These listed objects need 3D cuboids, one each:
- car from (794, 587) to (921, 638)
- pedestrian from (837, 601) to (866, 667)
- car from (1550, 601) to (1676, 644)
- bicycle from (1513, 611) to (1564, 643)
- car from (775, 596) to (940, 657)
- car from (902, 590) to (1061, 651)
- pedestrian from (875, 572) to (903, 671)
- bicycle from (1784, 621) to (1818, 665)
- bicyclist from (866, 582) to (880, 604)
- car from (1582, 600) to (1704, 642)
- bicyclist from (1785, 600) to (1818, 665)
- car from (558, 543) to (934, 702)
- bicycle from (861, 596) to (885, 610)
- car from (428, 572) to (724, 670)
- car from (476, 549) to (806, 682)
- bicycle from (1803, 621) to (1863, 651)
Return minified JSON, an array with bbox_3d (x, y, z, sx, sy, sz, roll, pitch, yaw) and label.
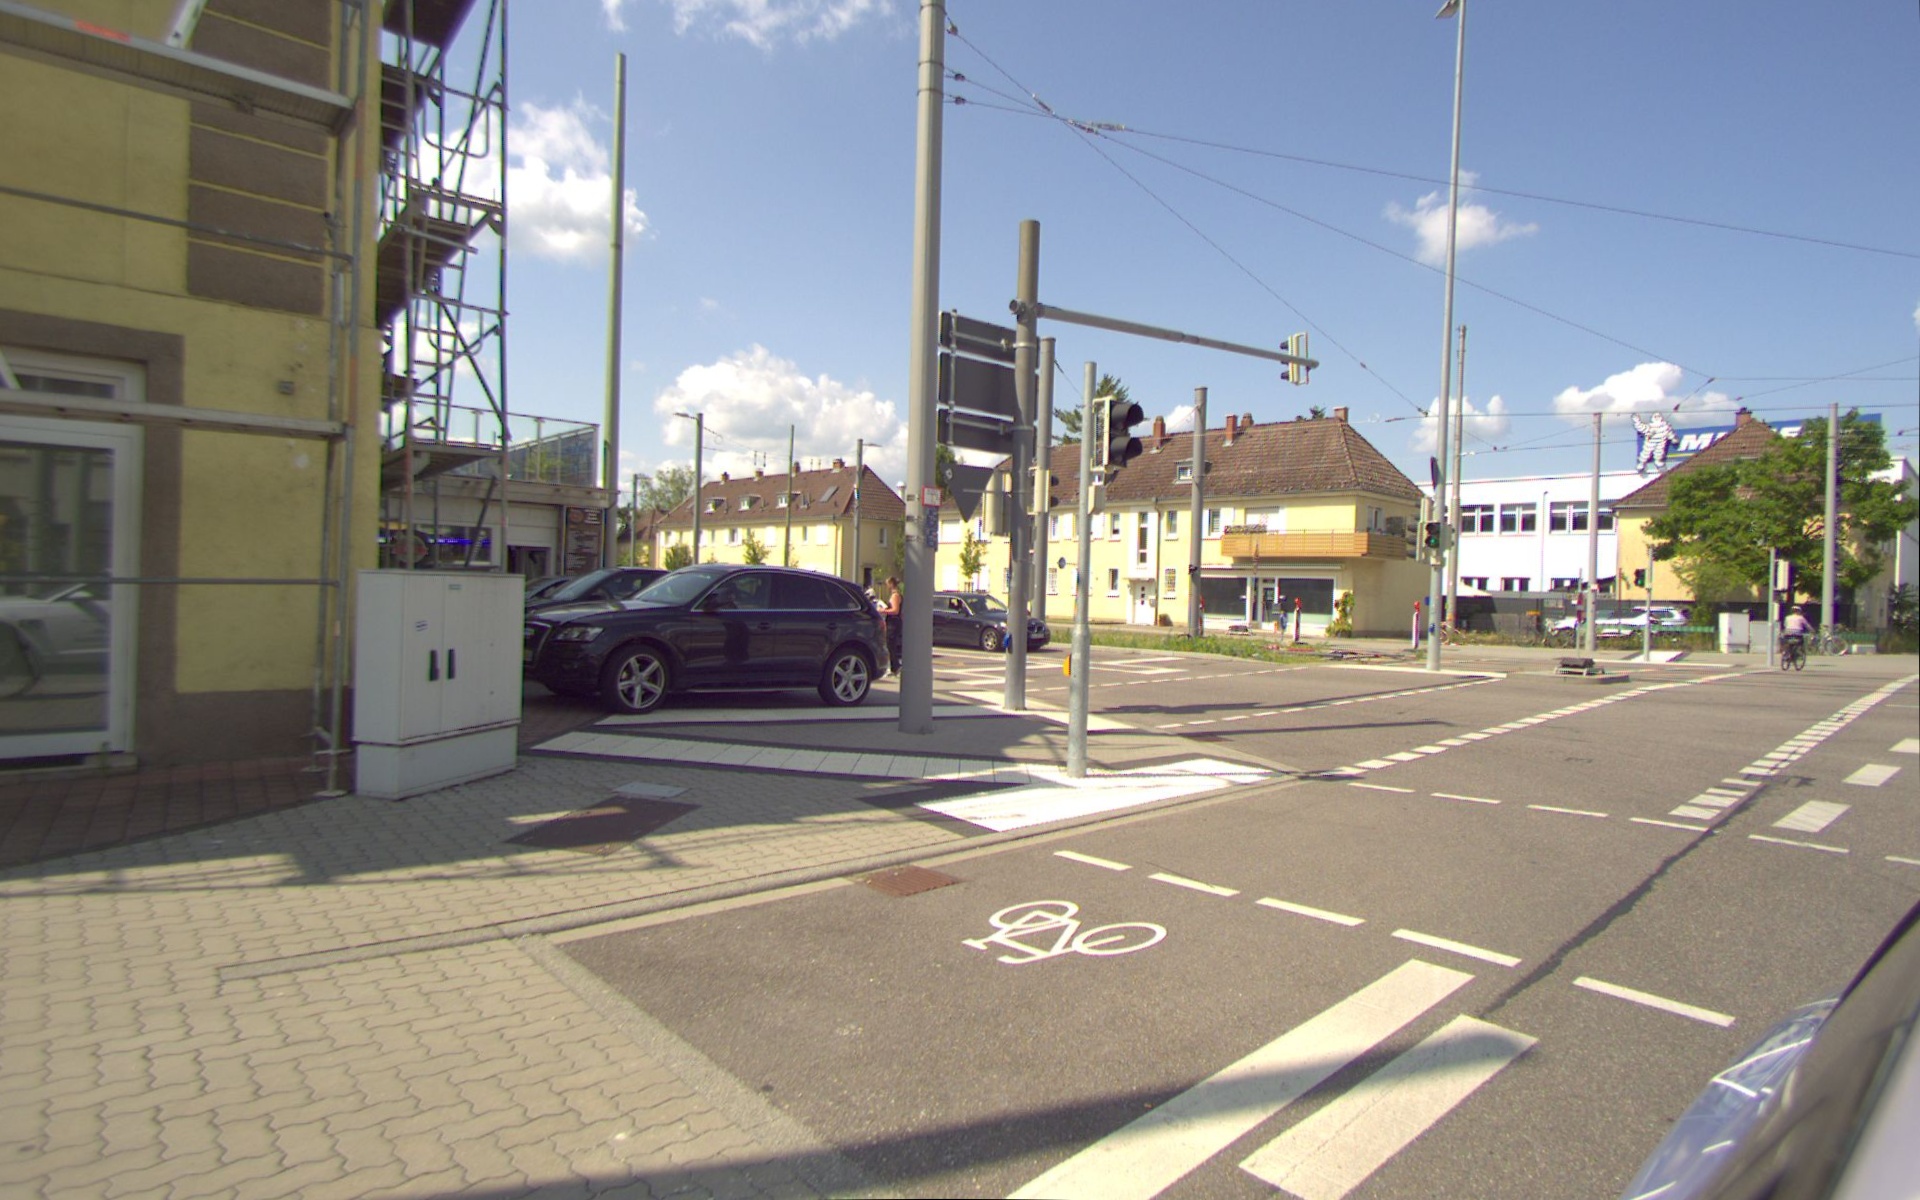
[{"bbox_3d":[-3.272,0.334,31.784,1.710,1.345,4.321,0,2,-43],"label":"car"},{"bbox_3d":[-1.925,0.594,17.906,0.380,1.150,0.490,0,-1,-23],"label":"pedestrian"},{"bbox_3d":[26.901,0.903,41.758,4.106,1.617,1.772,1,0,44],"label":"car"},{"bbox_3d":[21.139,0.984,36.987,1.555,1.152,0.378,0,-1,22],"label":"bicycle"},{"bbox_3d":[-2.535,0.580,24.281,1.710,1.325,4.319,0,0,-43],"label":"car"},{"bbox_3d":[0.487,0.479,26.940,1.710,1.345,4.321,0,2,-43],"label":"car"},{"bbox_3d":[-1.206,0.361,17.240,0.394,1.664,0.547,0,-1,6],"label":"pedestrian"},{"bbox_3d":[23.097,1.172,27.777,0.650,1.132,1.563,0,0,42],"label":"bicycle"},{"bbox_3d":[-5.105,-0.417,59.411,0.501,1.249,0.577,1,1,-45],"label":"bicyclist"},{"bbox_3d":[29.137,0.876,43.243,4.106,1.617,1.772,1,0,44],"label":"car"},{"bbox_3d":[23.073,0.873,27.753,0.650,1.760,0.969,-1,-1,43],"label":"bicyclist"},{"bbox_3d":[-2.515,0.229,12.374,4.058,1.616,1.997,0,0,-41],"label":"car"},{"bbox_3d":[-5.136,0.188,59.403,0.497,0.791,1.580,0,1,-45],"label":"bicycle"},{"bbox_3d":[-6.056,0.290,16.207,4.058,1.368,1.871,0,0,-41],"label":"car"},{"bbox_3d":[-4.460,0.187,14.434,4.058,1.616,1.997,0,0,-41],"label":"car"},{"bbox_3d":[30.639,1.247,35.522,1.722,1.031,0.463,0,0,0],"label":"bicycle"}]
